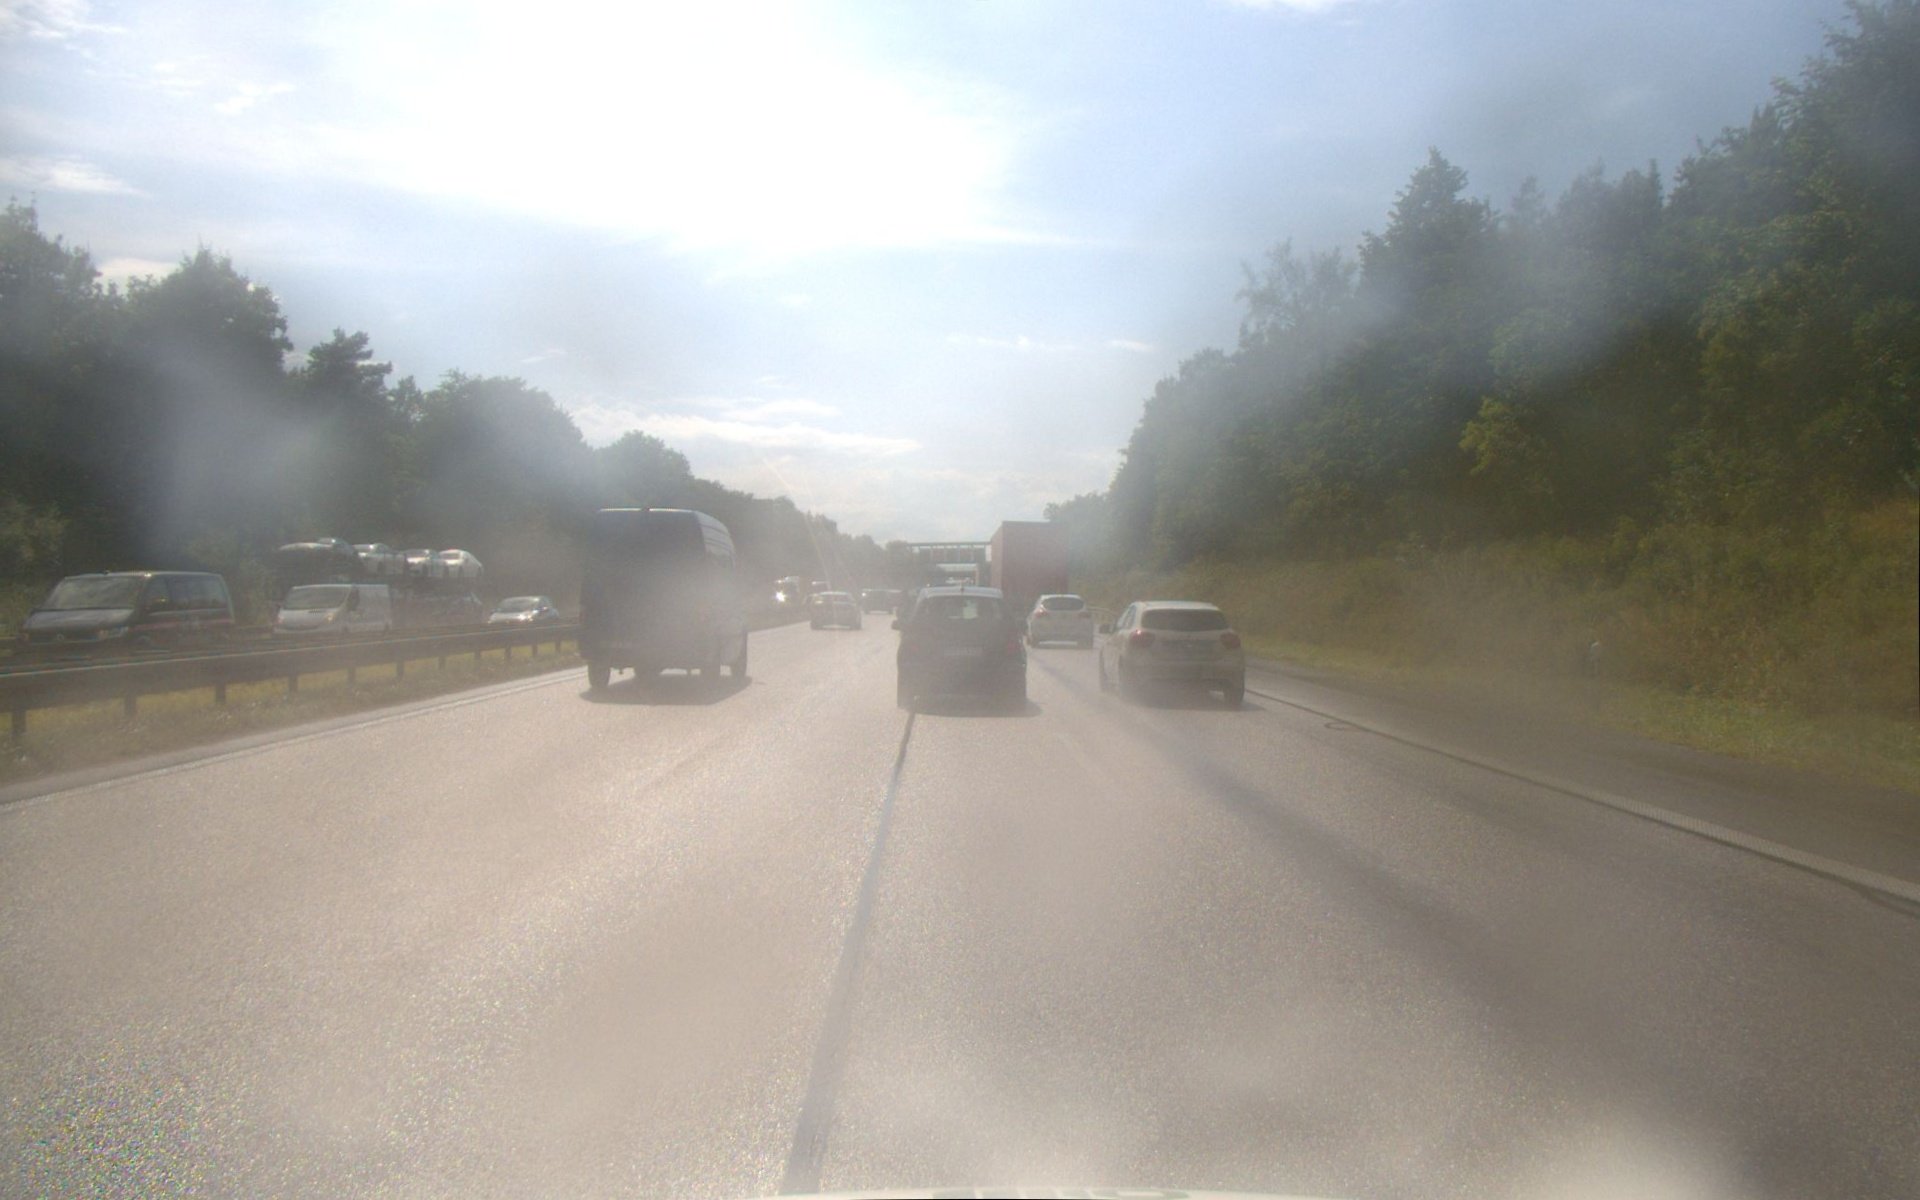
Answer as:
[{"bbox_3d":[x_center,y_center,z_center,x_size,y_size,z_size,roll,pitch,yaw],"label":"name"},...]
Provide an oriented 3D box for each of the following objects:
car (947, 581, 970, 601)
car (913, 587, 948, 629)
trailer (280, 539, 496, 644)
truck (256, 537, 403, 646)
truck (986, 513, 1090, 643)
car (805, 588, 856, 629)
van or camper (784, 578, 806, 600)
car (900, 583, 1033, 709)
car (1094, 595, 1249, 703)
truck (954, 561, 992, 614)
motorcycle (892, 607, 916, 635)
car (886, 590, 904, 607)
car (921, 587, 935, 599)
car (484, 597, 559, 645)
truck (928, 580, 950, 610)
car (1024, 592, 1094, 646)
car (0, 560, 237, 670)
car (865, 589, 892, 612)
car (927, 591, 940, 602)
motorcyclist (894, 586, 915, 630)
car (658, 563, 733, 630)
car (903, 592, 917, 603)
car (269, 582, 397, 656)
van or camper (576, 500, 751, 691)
[{"bbox_3d":[-0.132,-0.639,119.262,1.521,1.407,3.209,1,0,-2],"label":"car"},{"bbox_3d":[-1.333,0.350,73.026,1.500,1.777,3.483,1,0,-2],"label":"car"},{"bbox_3d":[-24.130,-0.315,71.439,2.929,3.898,17.952,1,0,0],"label":"trailer"},{"bbox_3d":[-24.208,-0.311,63.927,2.929,3.898,6.864,1,0,0],"label":"truck"},{"bbox_3d":[3.044,-0.828,70.188,3.575,4.803,16.778,1,0,0],"label":"truck"},{"bbox_3d":[-5.150,0.330,66.027,1.817,1.578,3.483,1,0,-2],"label":"car"},{"bbox_3d":[-22.260,-1.477,223.251,2.450,2.972,7.135,1,0,-2],"label":"van or camper"},{"bbox_3d":[0.039,0.589,22.947,1.683,1.595,3.483,1,0,-2],"label":"car"},{"bbox_3d":[3.071,0.671,24.780,1.658,1.450,4.218,1,0,-2],"label":"car"},{"bbox_3d":[1.122,-1.091,148.374,3.189,4.558,12.420,1,0,0],"label":"truck"},{"bbox_3d":[-2.129,0.794,62.979,0.873,1.018,2.895,1,0,-2],"label":"motorcycle"},{"bbox_3d":[-5.448,-0.144,139.448,1.431,1.418,3.310,1,0,-2],"label":"car"},{"bbox_3d":[-4.536,-0.989,233.824,1.953,1.731,3.999,0,0,-1],"label":"car"},{"bbox_3d":[-14.332,0.653,54.228,1.570,1.489,3.650,1,0,-2],"label":"car"},{"bbox_3d":[-2.142,-0.524,169.290,2.148,2.925,4.848,1,0,-2],"label":"truck"},{"bbox_3d":[2.814,0.512,47.649,1.646,1.467,3.903,1,0,-2],"label":"car"},{"bbox_3d":[-14.168,0.235,28.090,1.808,1.692,4.661,1,0,-2],"label":"car"},{"bbox_3d":[-5.483,0.037,111.358,1.716,1.482,3.388,1,0,-2],"label":"car"},{"bbox_3d":[-4.061,-0.541,253.648,1.953,1.759,3.999,0,0,-1],"label":"car"},{"bbox_3d":[-2.105,0.296,62.936,0.785,1.662,1.013,1,0,-2],"label":"motorcyclist"},{"bbox_3d":[-10.262,-0.136,64.602,2.139,2.495,5.746,1,0,-2],"label":"car"},{"bbox_3d":[-5.813,-0.312,192.296,1.518,1.289,3.483,1,0,-2],"label":"car"},{"bbox_3d":[-17.818,0.502,47.230,1.831,1.980,5.040,1,0,-2],"label":"car"},{"bbox_3d":[-4.608,-0.070,26.521,1.953,2.715,5.383,1,0,-2],"label":"van or camper"}]
